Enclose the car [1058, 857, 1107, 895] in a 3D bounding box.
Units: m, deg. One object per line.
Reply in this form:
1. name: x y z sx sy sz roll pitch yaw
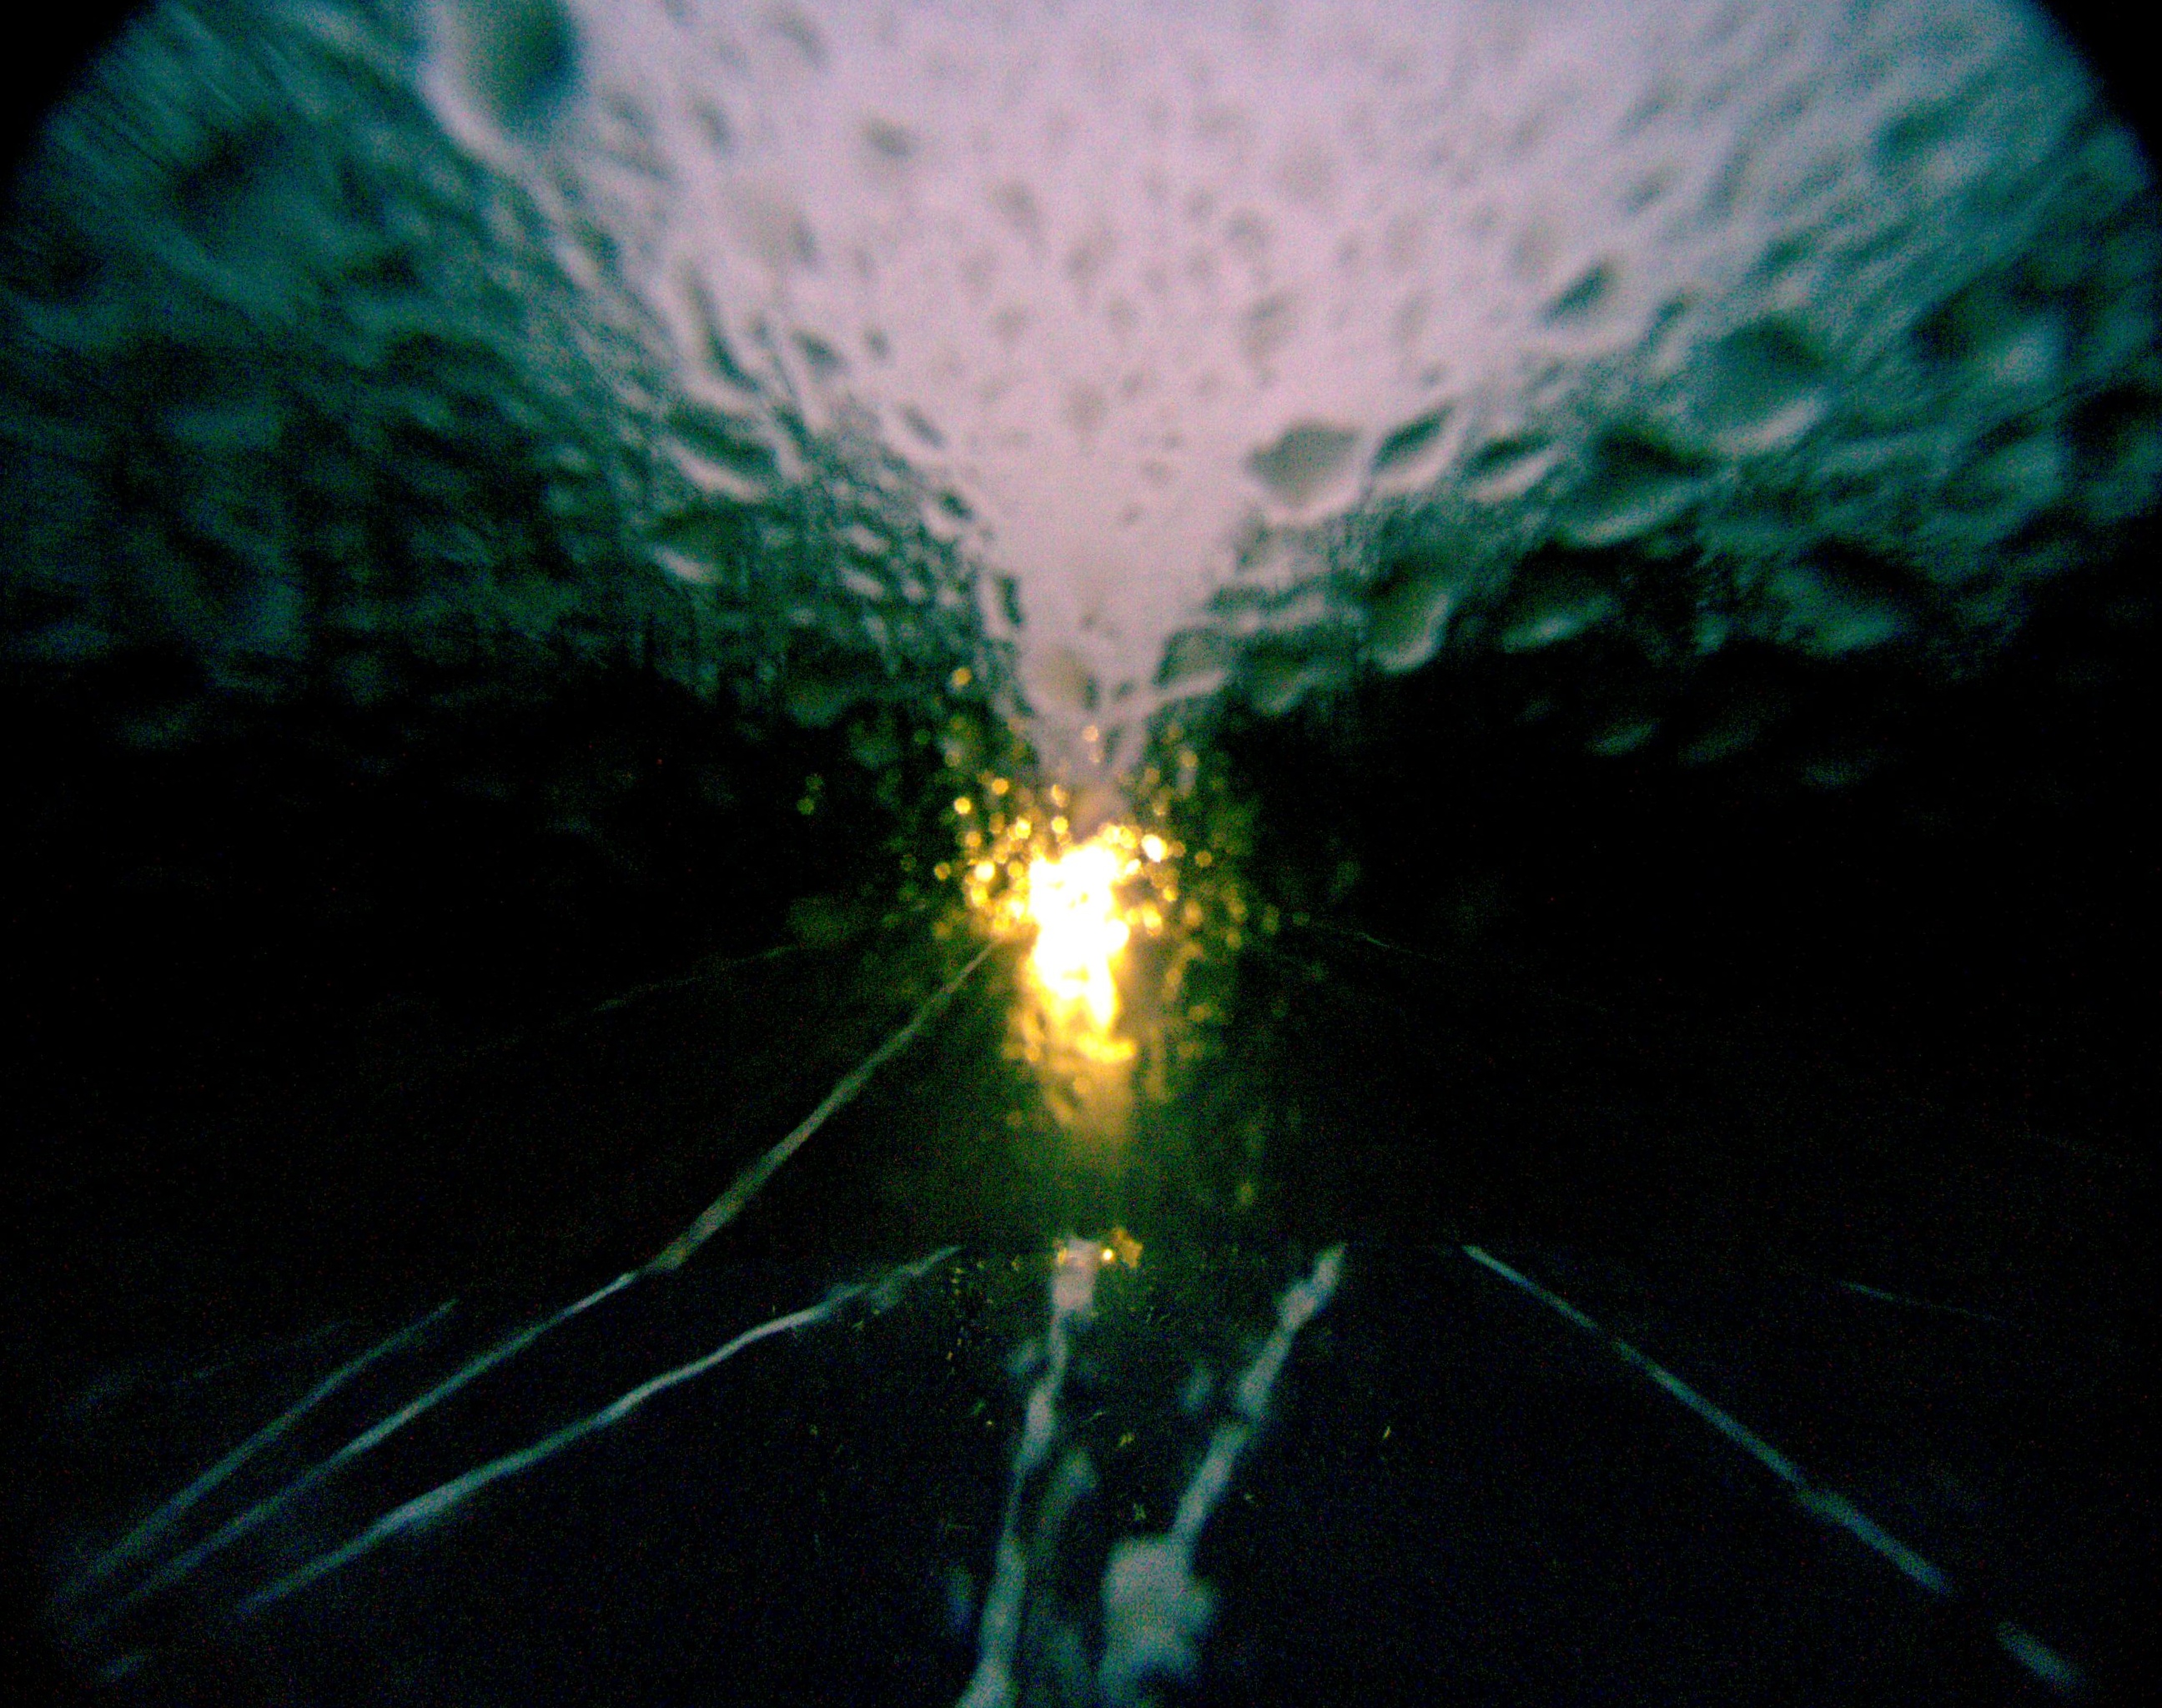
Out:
1. car: 0.089 0.836 30.655 1.845 1.390 4.000 -1 0 1
